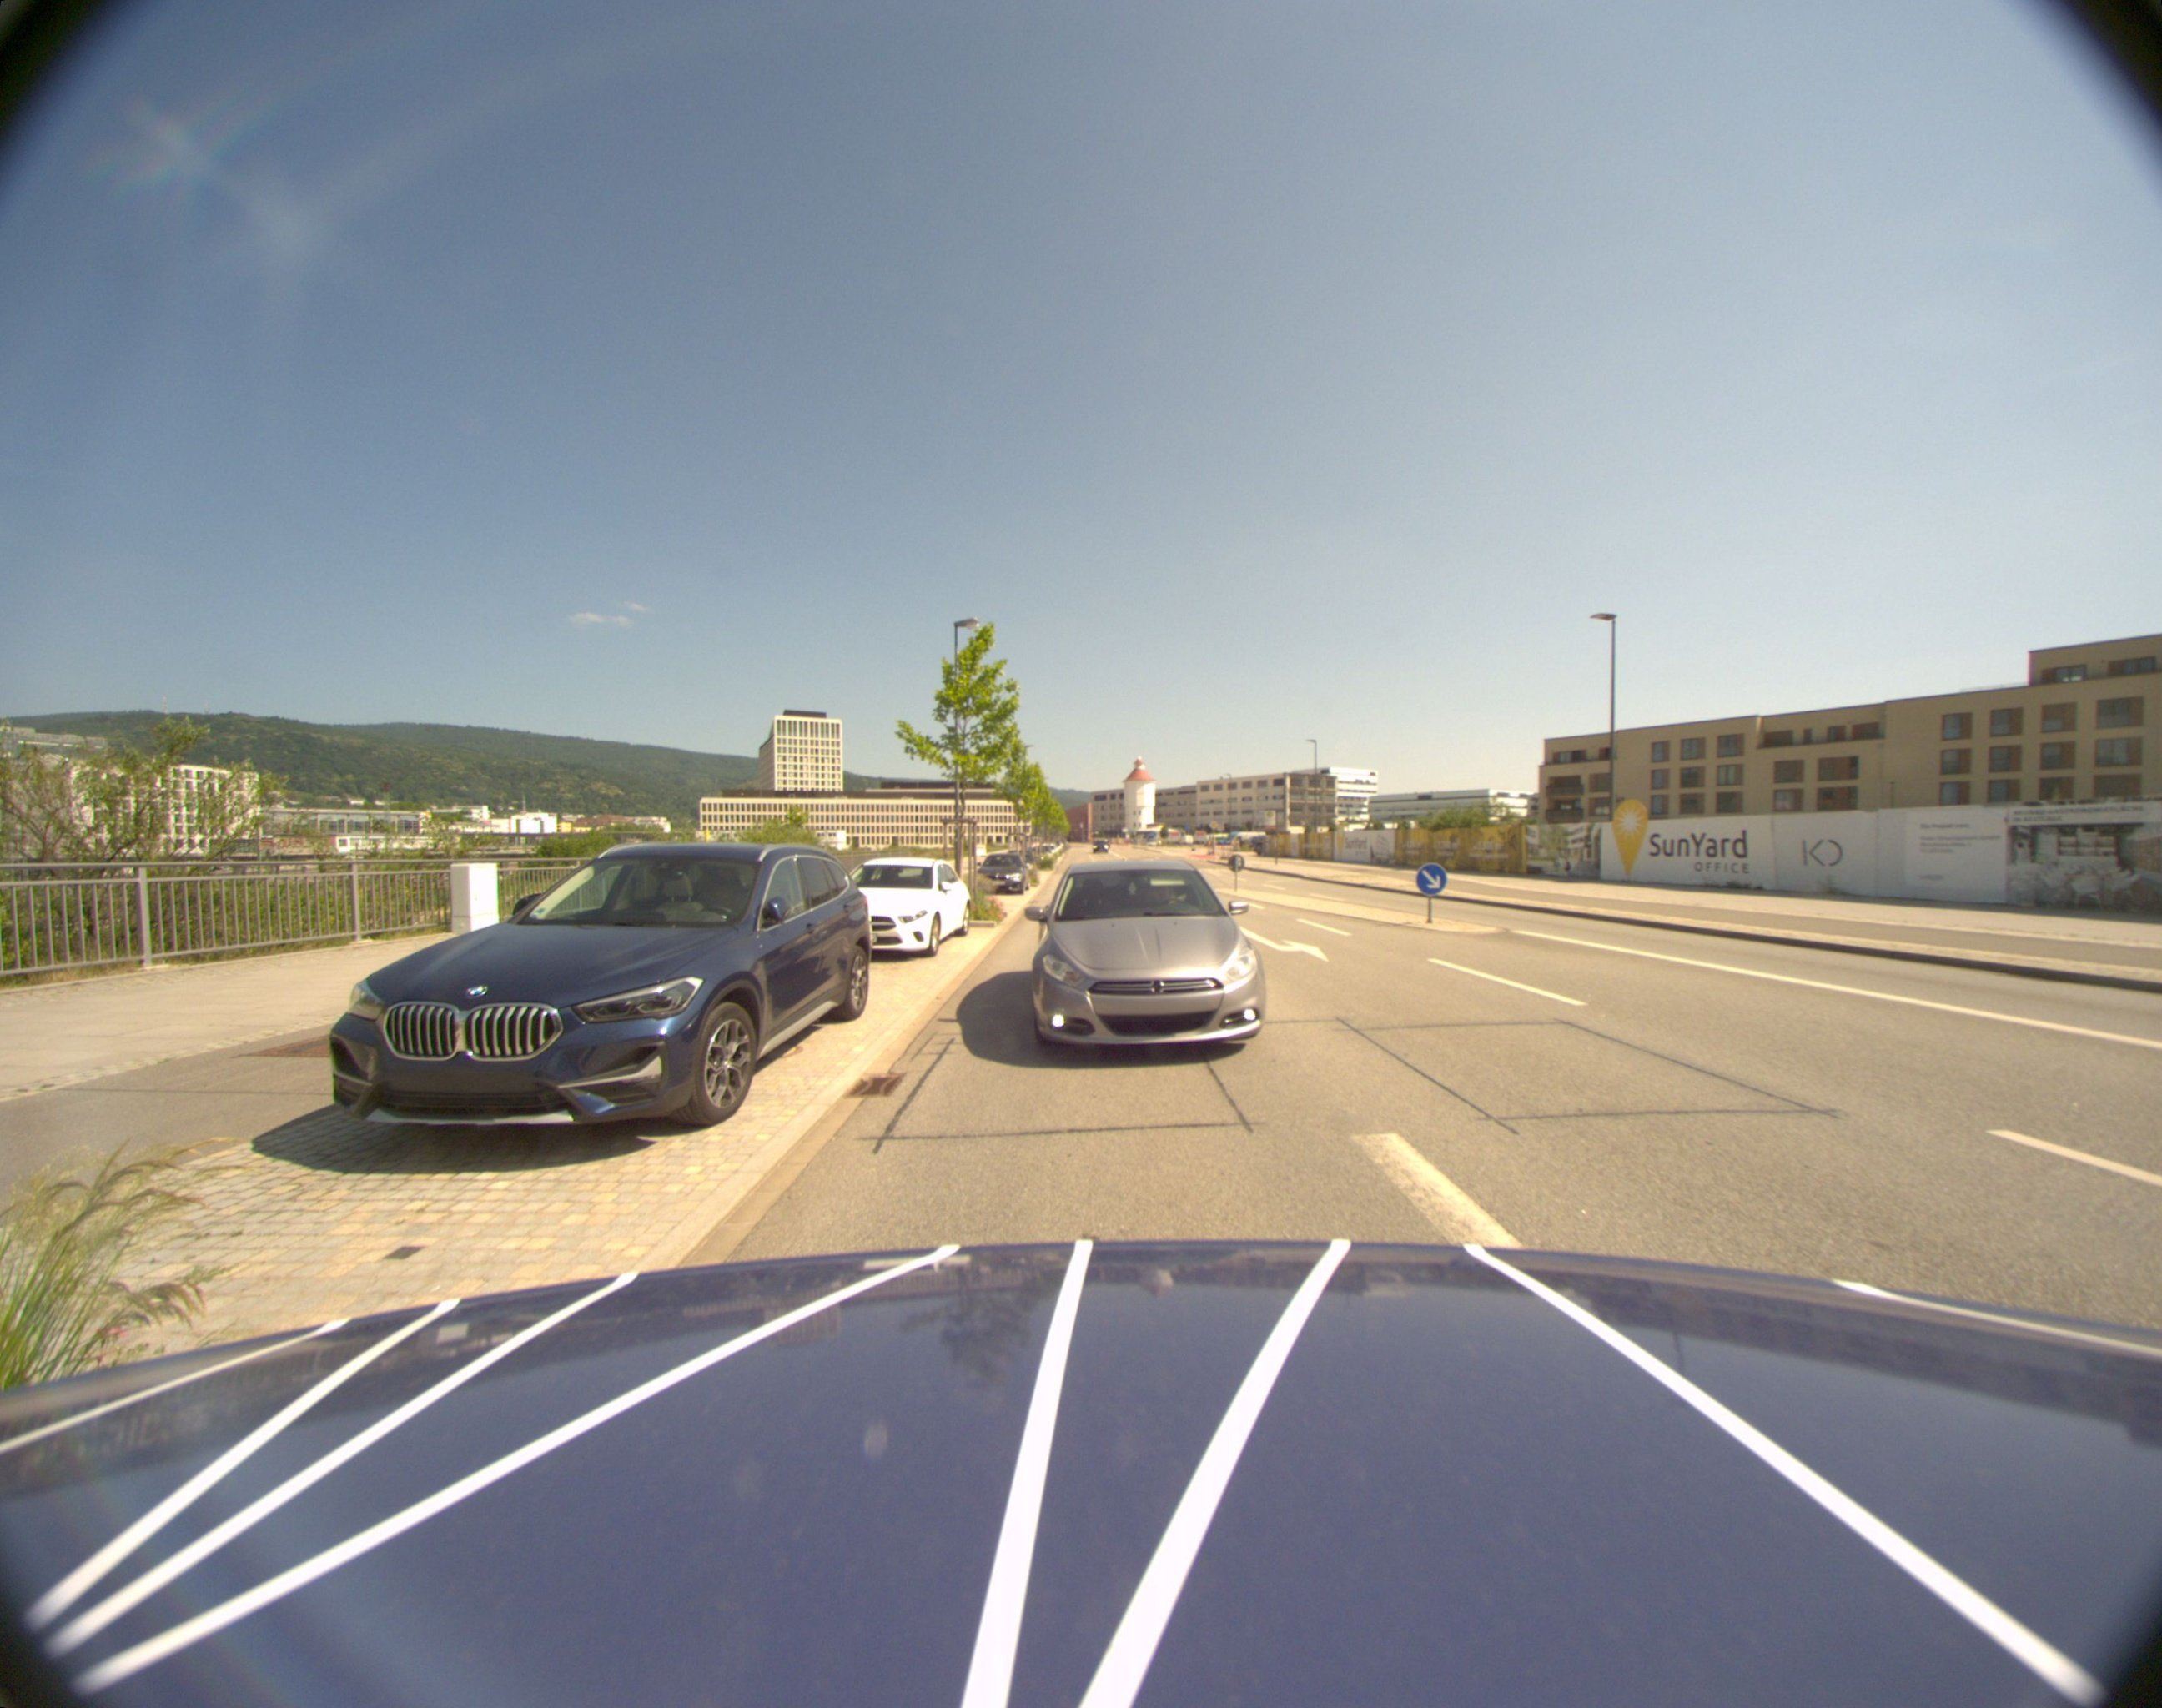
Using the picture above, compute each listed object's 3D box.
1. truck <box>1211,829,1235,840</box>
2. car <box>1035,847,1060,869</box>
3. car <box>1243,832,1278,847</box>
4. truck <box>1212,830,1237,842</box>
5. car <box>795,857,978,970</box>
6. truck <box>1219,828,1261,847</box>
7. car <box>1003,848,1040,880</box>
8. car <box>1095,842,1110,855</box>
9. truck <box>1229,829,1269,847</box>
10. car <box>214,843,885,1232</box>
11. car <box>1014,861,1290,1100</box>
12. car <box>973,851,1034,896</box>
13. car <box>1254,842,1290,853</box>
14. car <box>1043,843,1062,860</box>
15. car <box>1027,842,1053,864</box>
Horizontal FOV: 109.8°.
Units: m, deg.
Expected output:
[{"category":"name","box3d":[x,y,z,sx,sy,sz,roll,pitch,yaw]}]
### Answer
[{"category":"truck","box3d":[34.606,-4.693,185.341,5.412,2.461,1.999,-2,1,-2]},{"category":"car","box3d":[-2.174,0.239,50.516,1.490,1.302,3.154,2,1,0]},{"category":"car","box3d":[22.815,-1.851,96.581,3.930,1.708,1.891,-3,1,-5]},{"category":"truck","box3d":[33.393,-4.151,177.305,5.333,2.461,1.999,-3,1,-4]},{"category":"car","box3d":[-2.938,0.813,12.428,1.710,1.366,4.270,2,1,2]},{"category":"truck","box3d":[23.693,-2.441,113.327,5.633,2.461,1.999,-3,1,-4]},{"category":"car","box3d":[-2.917,0.475,37.947,1.569,1.465,3.006,2,1,0]},{"category":"car","box3d":[2.714,-0.704,95.624,1.819,1.458,4.347,-3,1,2]},{"category":"truck","box3d":[23.377,-2.240,105.931,5.005,2.215,1.999,-2,1,-1]},{"category":"car","box3d":[-2.879,0.784,5.473,1.808,1.674,4.270,1,1,0]},{"category":"car","box3d":[0.516,0.875,7.282,1.820,1.458,4.346,-2,1,1]},{"category":"car","box3d":[-2.759,0.641,27.807,1.808,1.424,3.915,2,1,0]},{"category":"car","box3d":[19.633,-0.637,78.048,3.359,0.947,1.293,-2,1,3]},{"category":"car","box3d":[-2.621,-0.274,70.718,1.526,1.482,3.504,-3,1,0]},{"category":"car","box3d":[-3.264,-0.123,61.201,1.768,1.609,3.374,-3,1,0]}]
